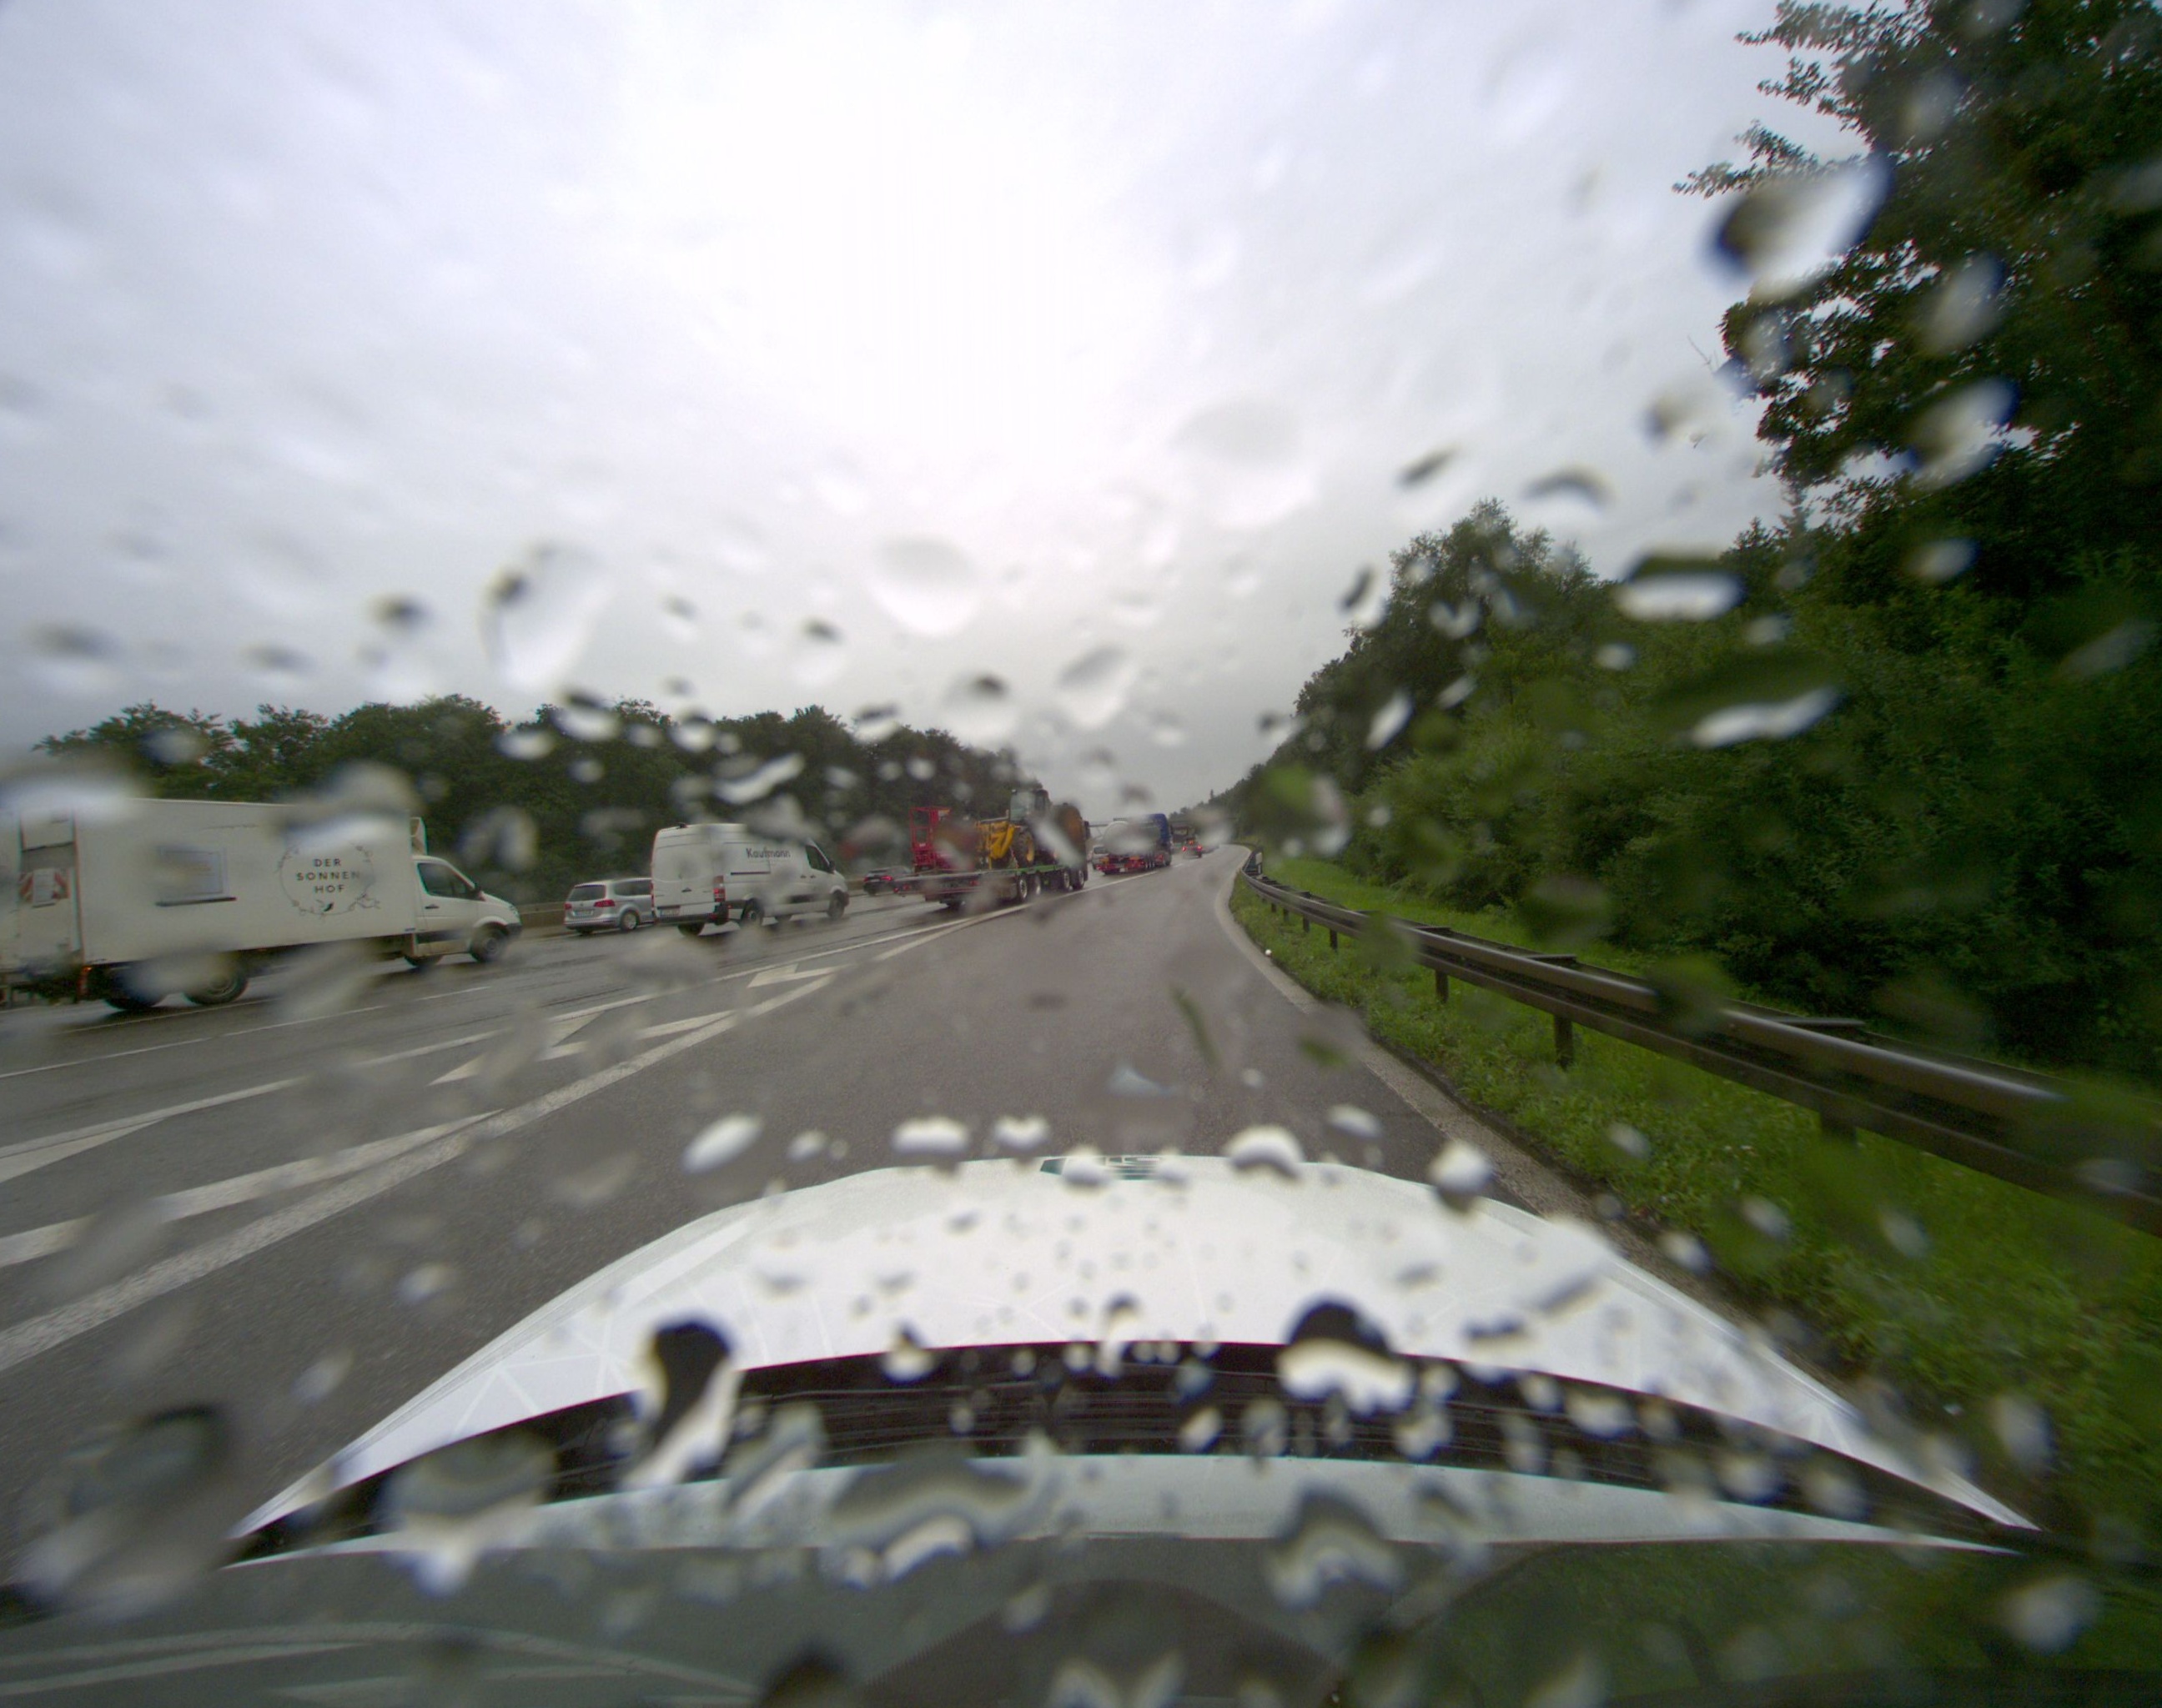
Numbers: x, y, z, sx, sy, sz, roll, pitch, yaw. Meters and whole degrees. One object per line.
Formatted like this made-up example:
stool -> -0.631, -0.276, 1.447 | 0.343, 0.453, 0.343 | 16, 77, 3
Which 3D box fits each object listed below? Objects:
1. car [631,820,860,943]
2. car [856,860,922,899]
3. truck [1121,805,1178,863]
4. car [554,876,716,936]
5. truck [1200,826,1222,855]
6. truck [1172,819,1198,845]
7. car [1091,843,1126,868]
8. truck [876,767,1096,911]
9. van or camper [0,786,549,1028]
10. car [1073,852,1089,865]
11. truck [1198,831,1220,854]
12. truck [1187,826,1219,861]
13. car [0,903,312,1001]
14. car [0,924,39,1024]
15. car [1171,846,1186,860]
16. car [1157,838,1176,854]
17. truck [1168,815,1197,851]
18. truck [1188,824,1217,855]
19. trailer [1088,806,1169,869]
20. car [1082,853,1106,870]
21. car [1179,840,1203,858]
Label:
car -> -8.328, 0.597, 21.074 | 2.199, 2.629, 5.868 | -4, 0, 15
car -> -10.231, 1.325, 43.721 | 1.784, 2.014, 4.016 | 0, -1, 15
truck -> 4.873, -1.393, 56.943 | 2.856, 3.693, 5.077 | -4, 0, 15
car -> -14.416, 1.631, 26.664 | 1.852, 1.522, 4.649 | -4, 0, 15
truck -> 26.941, -2.677, 168.812 | 4.310, 5.764, 9.757 | 0, -1, 10
truck -> 19.194, -3.934, 150.173 | 3.552, 4.095, 10.915 | -3, -1, 12
car -> 2.130, 0.101, 61.711 | 1.807, 1.767, 4.014 | -3, 0, 13
truck -> -2.454, -0.466, 27.157 | 2.810, 3.588, 11.846 | -4, 0, 15
van or camper -> -13.814, 0.731, 14.581 | 2.560, 3.204, 7.159 | -4, 0, 15
car -> -0.011, 0.763, 138.406 | 1.981, 2.013, 4.012 | -3, 0, 11
truck -> 23.170, -2.052, 147.794 | 3.733, 3.970, 11.086 | 0, -1, 9
truck -> 16.062, -1.355, 106.587 | 3.577, 4.104, 11.594 | -4, 0, 10
car -> -19.753, 1.962, 17.192 | 1.731, 1.425, 4.854 | -4, 0, 16
car -> -18.160, 1.963, 11.169 | 1.603, 1.522, 4.433 | -4, 0, 16
car -> 13.491, -0.102, 112.568 | 1.786, 1.904, 4.012 | -1, -1, 11
car -> 16.409, -1.457, 155.637 | 3.076, 3.002, 6.792 | 0, -1, 10
truck -> 16.508, -3.327, 132.424 | 3.729, 5.499, 10.206 | 0, -1, 12
truck -> 18.452, -2.098, 122.731 | 3.483, 4.268, 10.640 | 0, -1, 13
trailer -> 3.176, -1.032, 50.418 | 2.852, 3.288, 10.119 | -4, 0, 15
car -> 1.586, 0.878, 95.031 | 1.980, 1.772, 4.148 | -3, 0, 12
car -> 10.549, -0.445, 77.875 | 1.980, 1.636, 4.013 | 0, -1, 12
